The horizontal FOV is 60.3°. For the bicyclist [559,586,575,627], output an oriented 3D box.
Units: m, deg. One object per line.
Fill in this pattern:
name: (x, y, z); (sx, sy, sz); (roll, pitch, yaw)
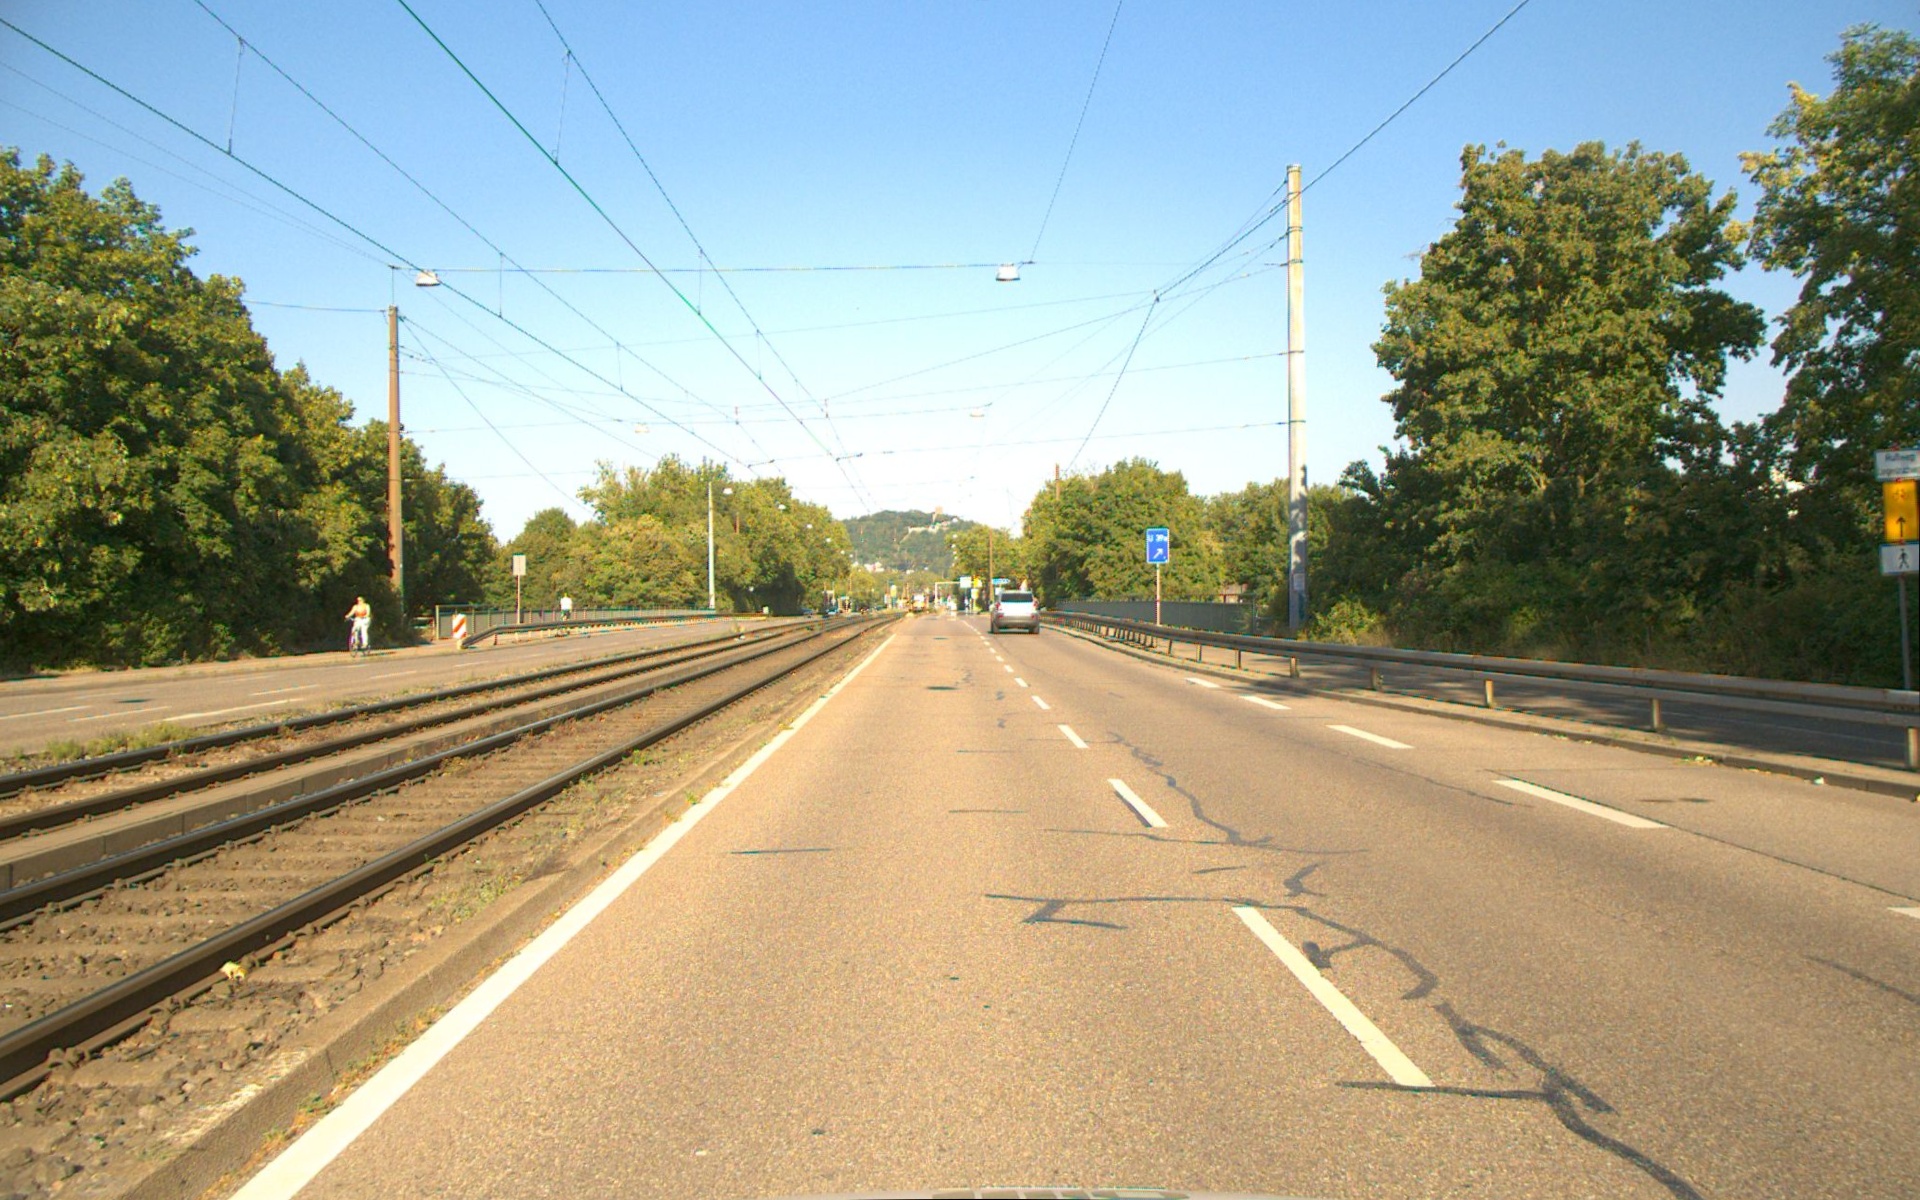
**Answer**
bicyclist: (-18.226, 0.288, 76.730); (0.529, 1.895, 0.875); (1, 0, -1)

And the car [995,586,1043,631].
car: (2.328, 0.317, 65.531); (1.849, 1.723, 4.257); (0, 0, 2)

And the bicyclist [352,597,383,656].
bicyclist: (-17.360, 0.768, 48.494); (0.497, 1.717, 0.919); (1, 0, 2)

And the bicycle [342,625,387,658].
bicycle: (-17.383, 1.198, 48.301); (0.497, 0.908, 2.028); (1, 0, 2)

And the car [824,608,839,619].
car: (-19.624, 2.036, 252.815); (1.953, 1.646, 3.999); (1, 0, -1)

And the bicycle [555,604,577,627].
bicycle: (-18.234, 0.709, 76.550); (0.529, 1.061, 1.924); (1, 0, -1)
